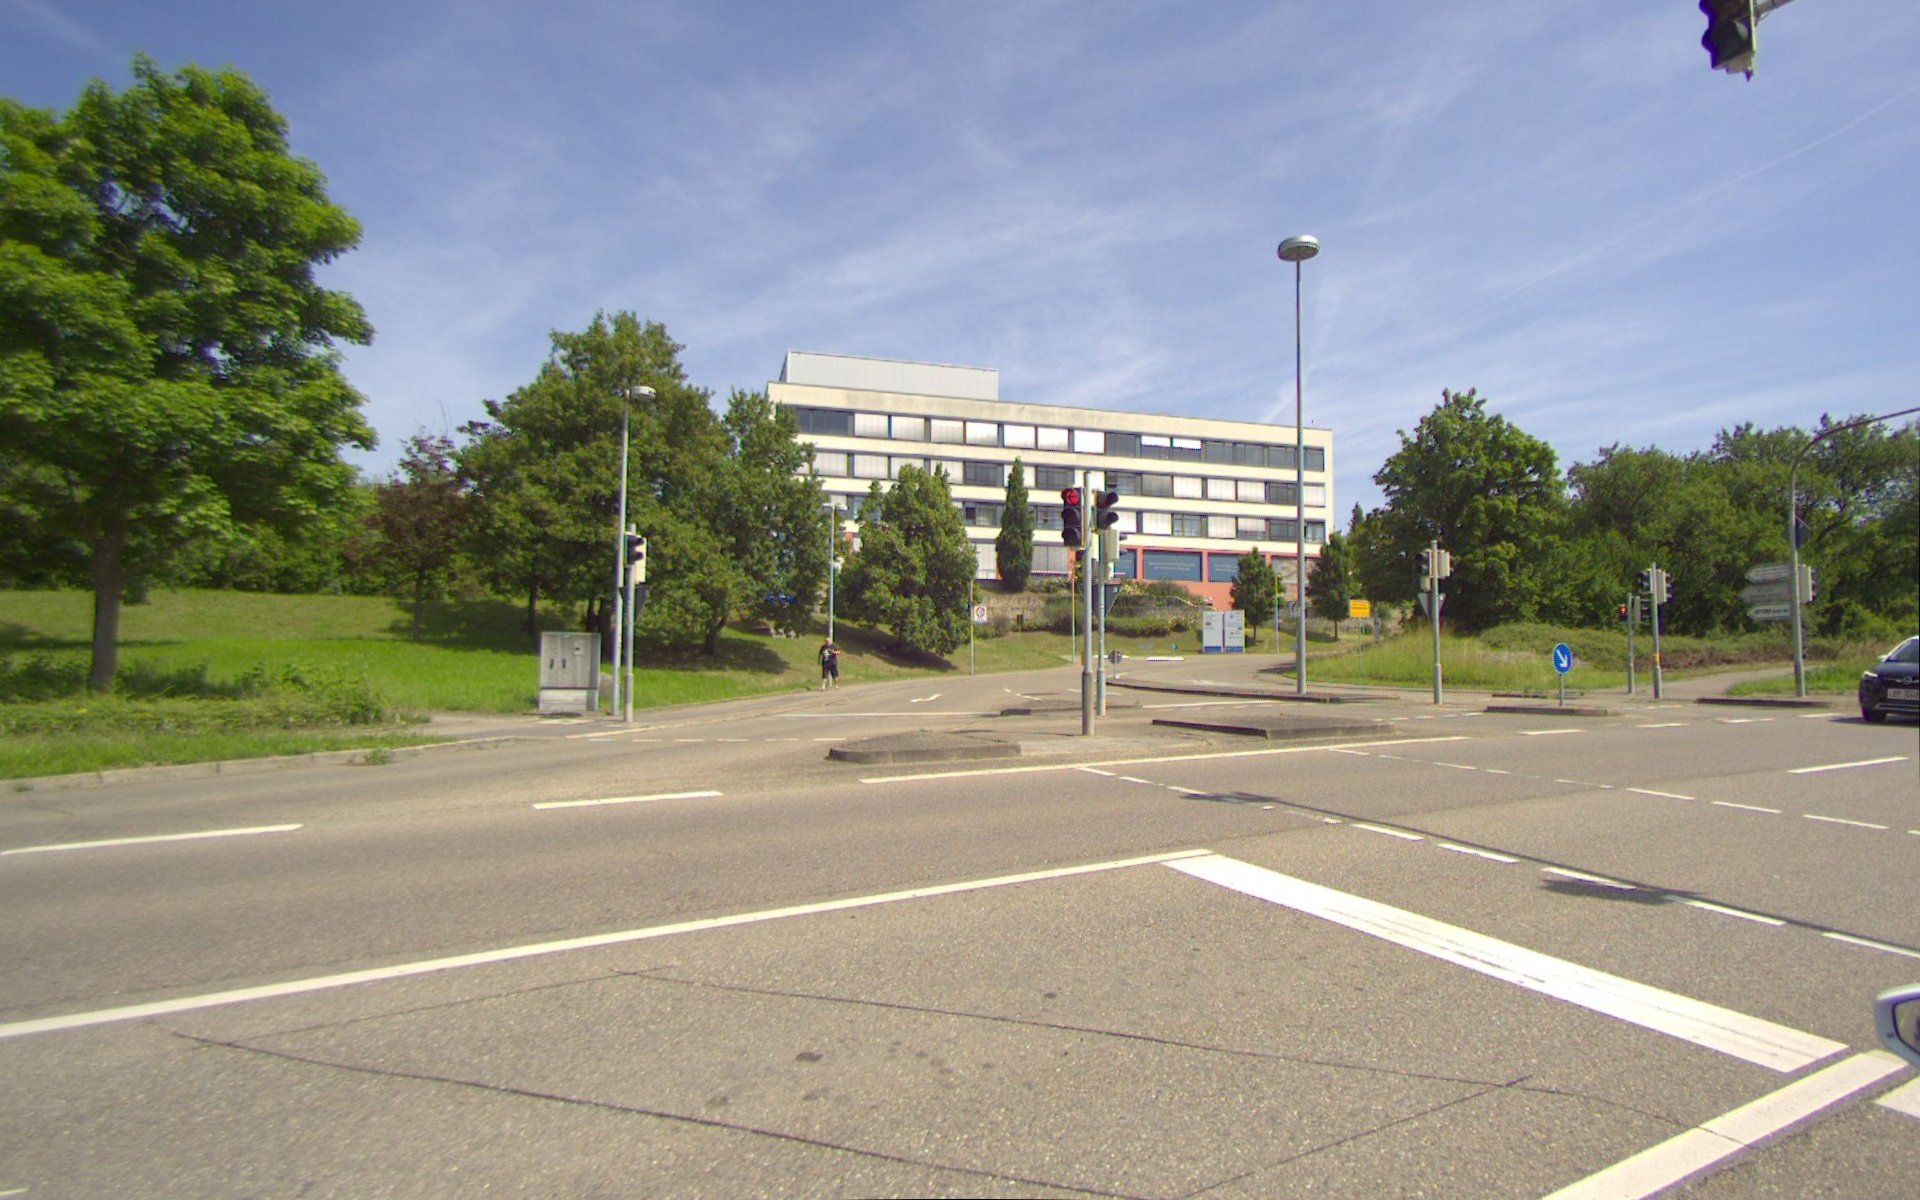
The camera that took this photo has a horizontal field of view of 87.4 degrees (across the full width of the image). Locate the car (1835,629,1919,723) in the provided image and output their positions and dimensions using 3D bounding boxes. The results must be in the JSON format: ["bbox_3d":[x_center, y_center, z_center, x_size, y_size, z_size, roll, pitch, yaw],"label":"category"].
[{"bbox_3d":[17.959,1.356,18.172,4.138,1.583,1.966,2,-2,-29],"label":"car"}]

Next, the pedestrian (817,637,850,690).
[{"bbox_3d":[-4.301,2.146,34.162,0.881,1.758,0.923,1,-1,7],"label":"pedestrian"}]
